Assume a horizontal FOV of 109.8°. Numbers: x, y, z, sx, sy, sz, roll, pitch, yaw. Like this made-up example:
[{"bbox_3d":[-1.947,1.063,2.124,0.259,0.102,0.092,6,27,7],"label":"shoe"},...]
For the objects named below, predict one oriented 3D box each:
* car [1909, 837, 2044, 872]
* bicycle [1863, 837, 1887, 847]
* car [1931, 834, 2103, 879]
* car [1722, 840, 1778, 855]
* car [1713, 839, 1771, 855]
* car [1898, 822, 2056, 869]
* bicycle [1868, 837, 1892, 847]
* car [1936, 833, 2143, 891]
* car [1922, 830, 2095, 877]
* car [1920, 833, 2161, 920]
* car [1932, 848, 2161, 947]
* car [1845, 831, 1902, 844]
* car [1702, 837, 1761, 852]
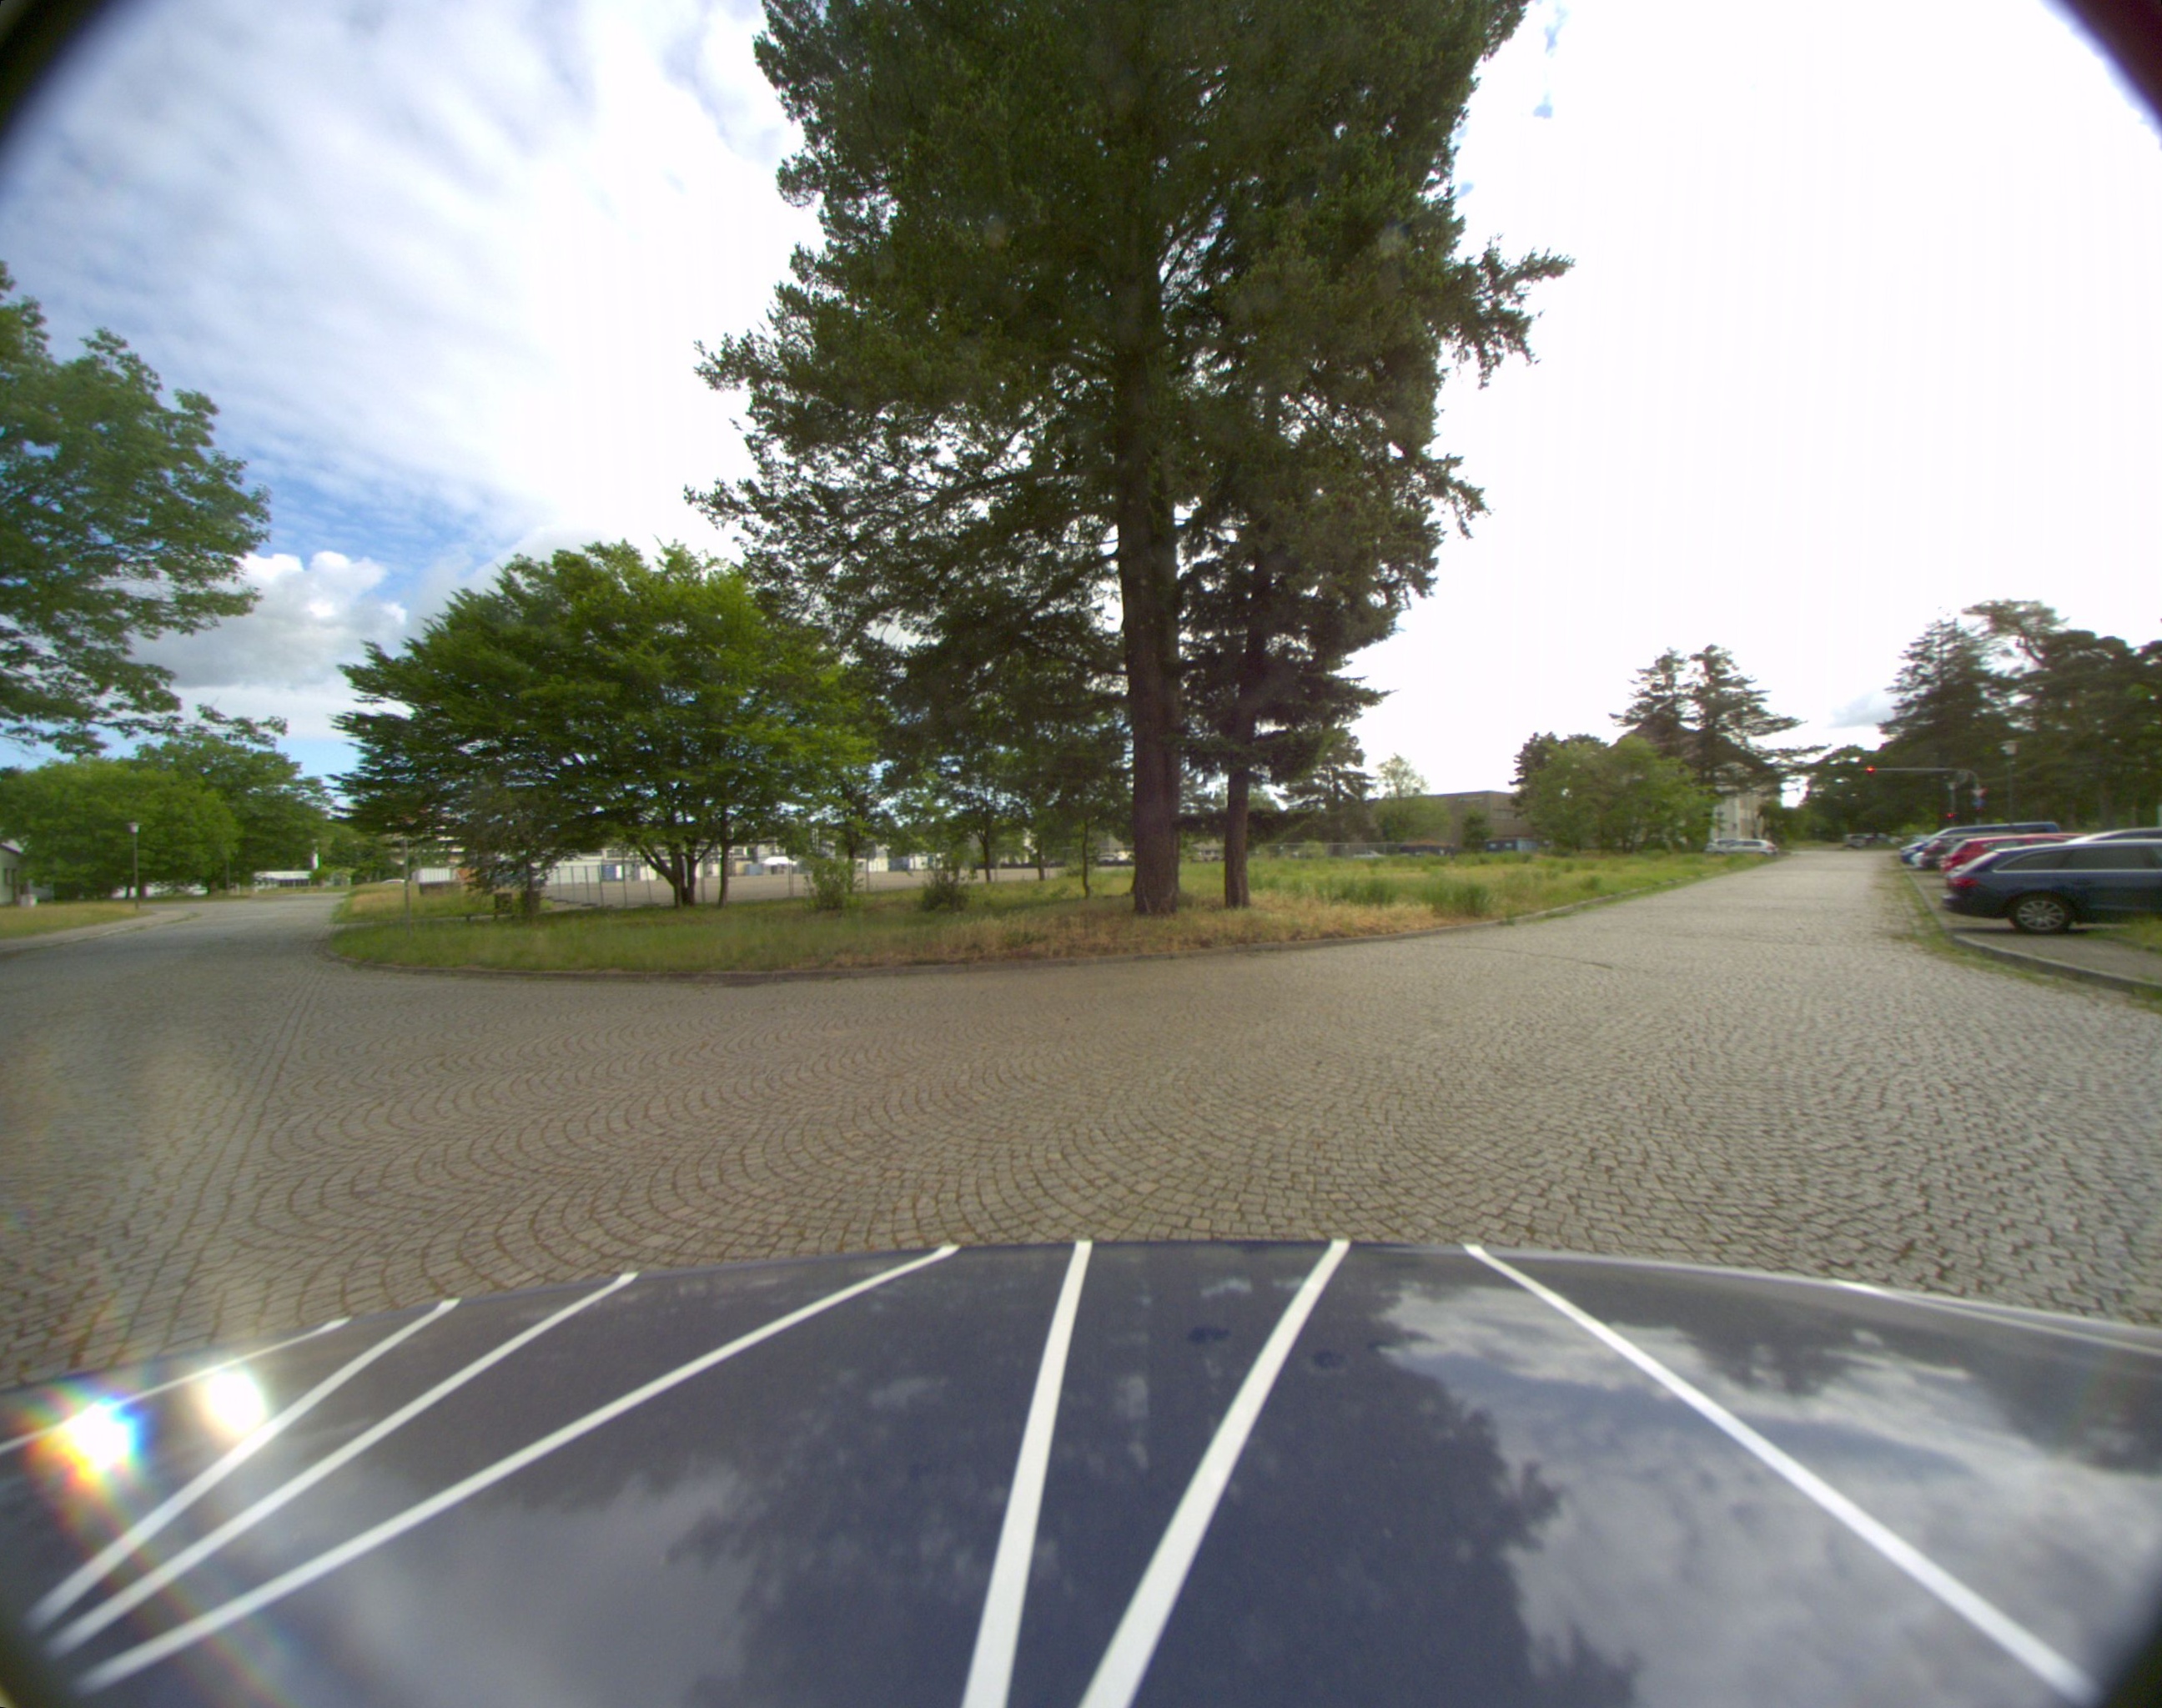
[{"bbox_3d":[39.268,0.029,33.469,1.587,1.331,3.685,-2,-1,-45],"label":"car"},{"bbox_3d":[91.696,-1.386,87.774,1.857,1.088,0.512,-1,1,39],"label":"bicycle"},{"bbox_3d":[32.980,0.119,26.937,3.654,1.413,1.580,-4,-1,45],"label":"car"},{"bbox_3d":[52.665,-0.521,59.816,3.260,1.081,1.400,-1,0,43],"label":"car"},{"bbox_3d":[50.709,-0.522,58.301,3.260,1.081,1.452,-1,0,43],"label":"car"},{"bbox_3d":[41.175,-0.340,35.118,1.797,1.890,4.533,-2,-1,-45],"label":"car"},{"bbox_3d":[92.938,-1.437,88.339,1.857,1.088,0.512,-1,1,39],"label":"bicycle"},{"bbox_3d":[27.260,0.258,21.810,1.605,1.473,3.490,-2,-1,-45],"label":"car"},{"bbox_3d":[34.937,0.006,28.813,1.768,1.536,3.943,-2,-1,-45],"label":"car"},{"bbox_3d":[19.715,0.420,14.847,1.768,1.553,4.354,-2,-1,-45],"label":"car"},{"bbox_3d":[16.276,0.635,11.581,1.767,1.396,4.344,-2,-1,-41],"label":"car"},{"bbox_3d":[104.442,-2.161,100.200,4.973,1.612,1.905,-1,0,40],"label":"car"},{"bbox_3d":[53.754,-0.778,62.853,1.587,1.203,3.586,-2,0,-45],"label":"car"}]
